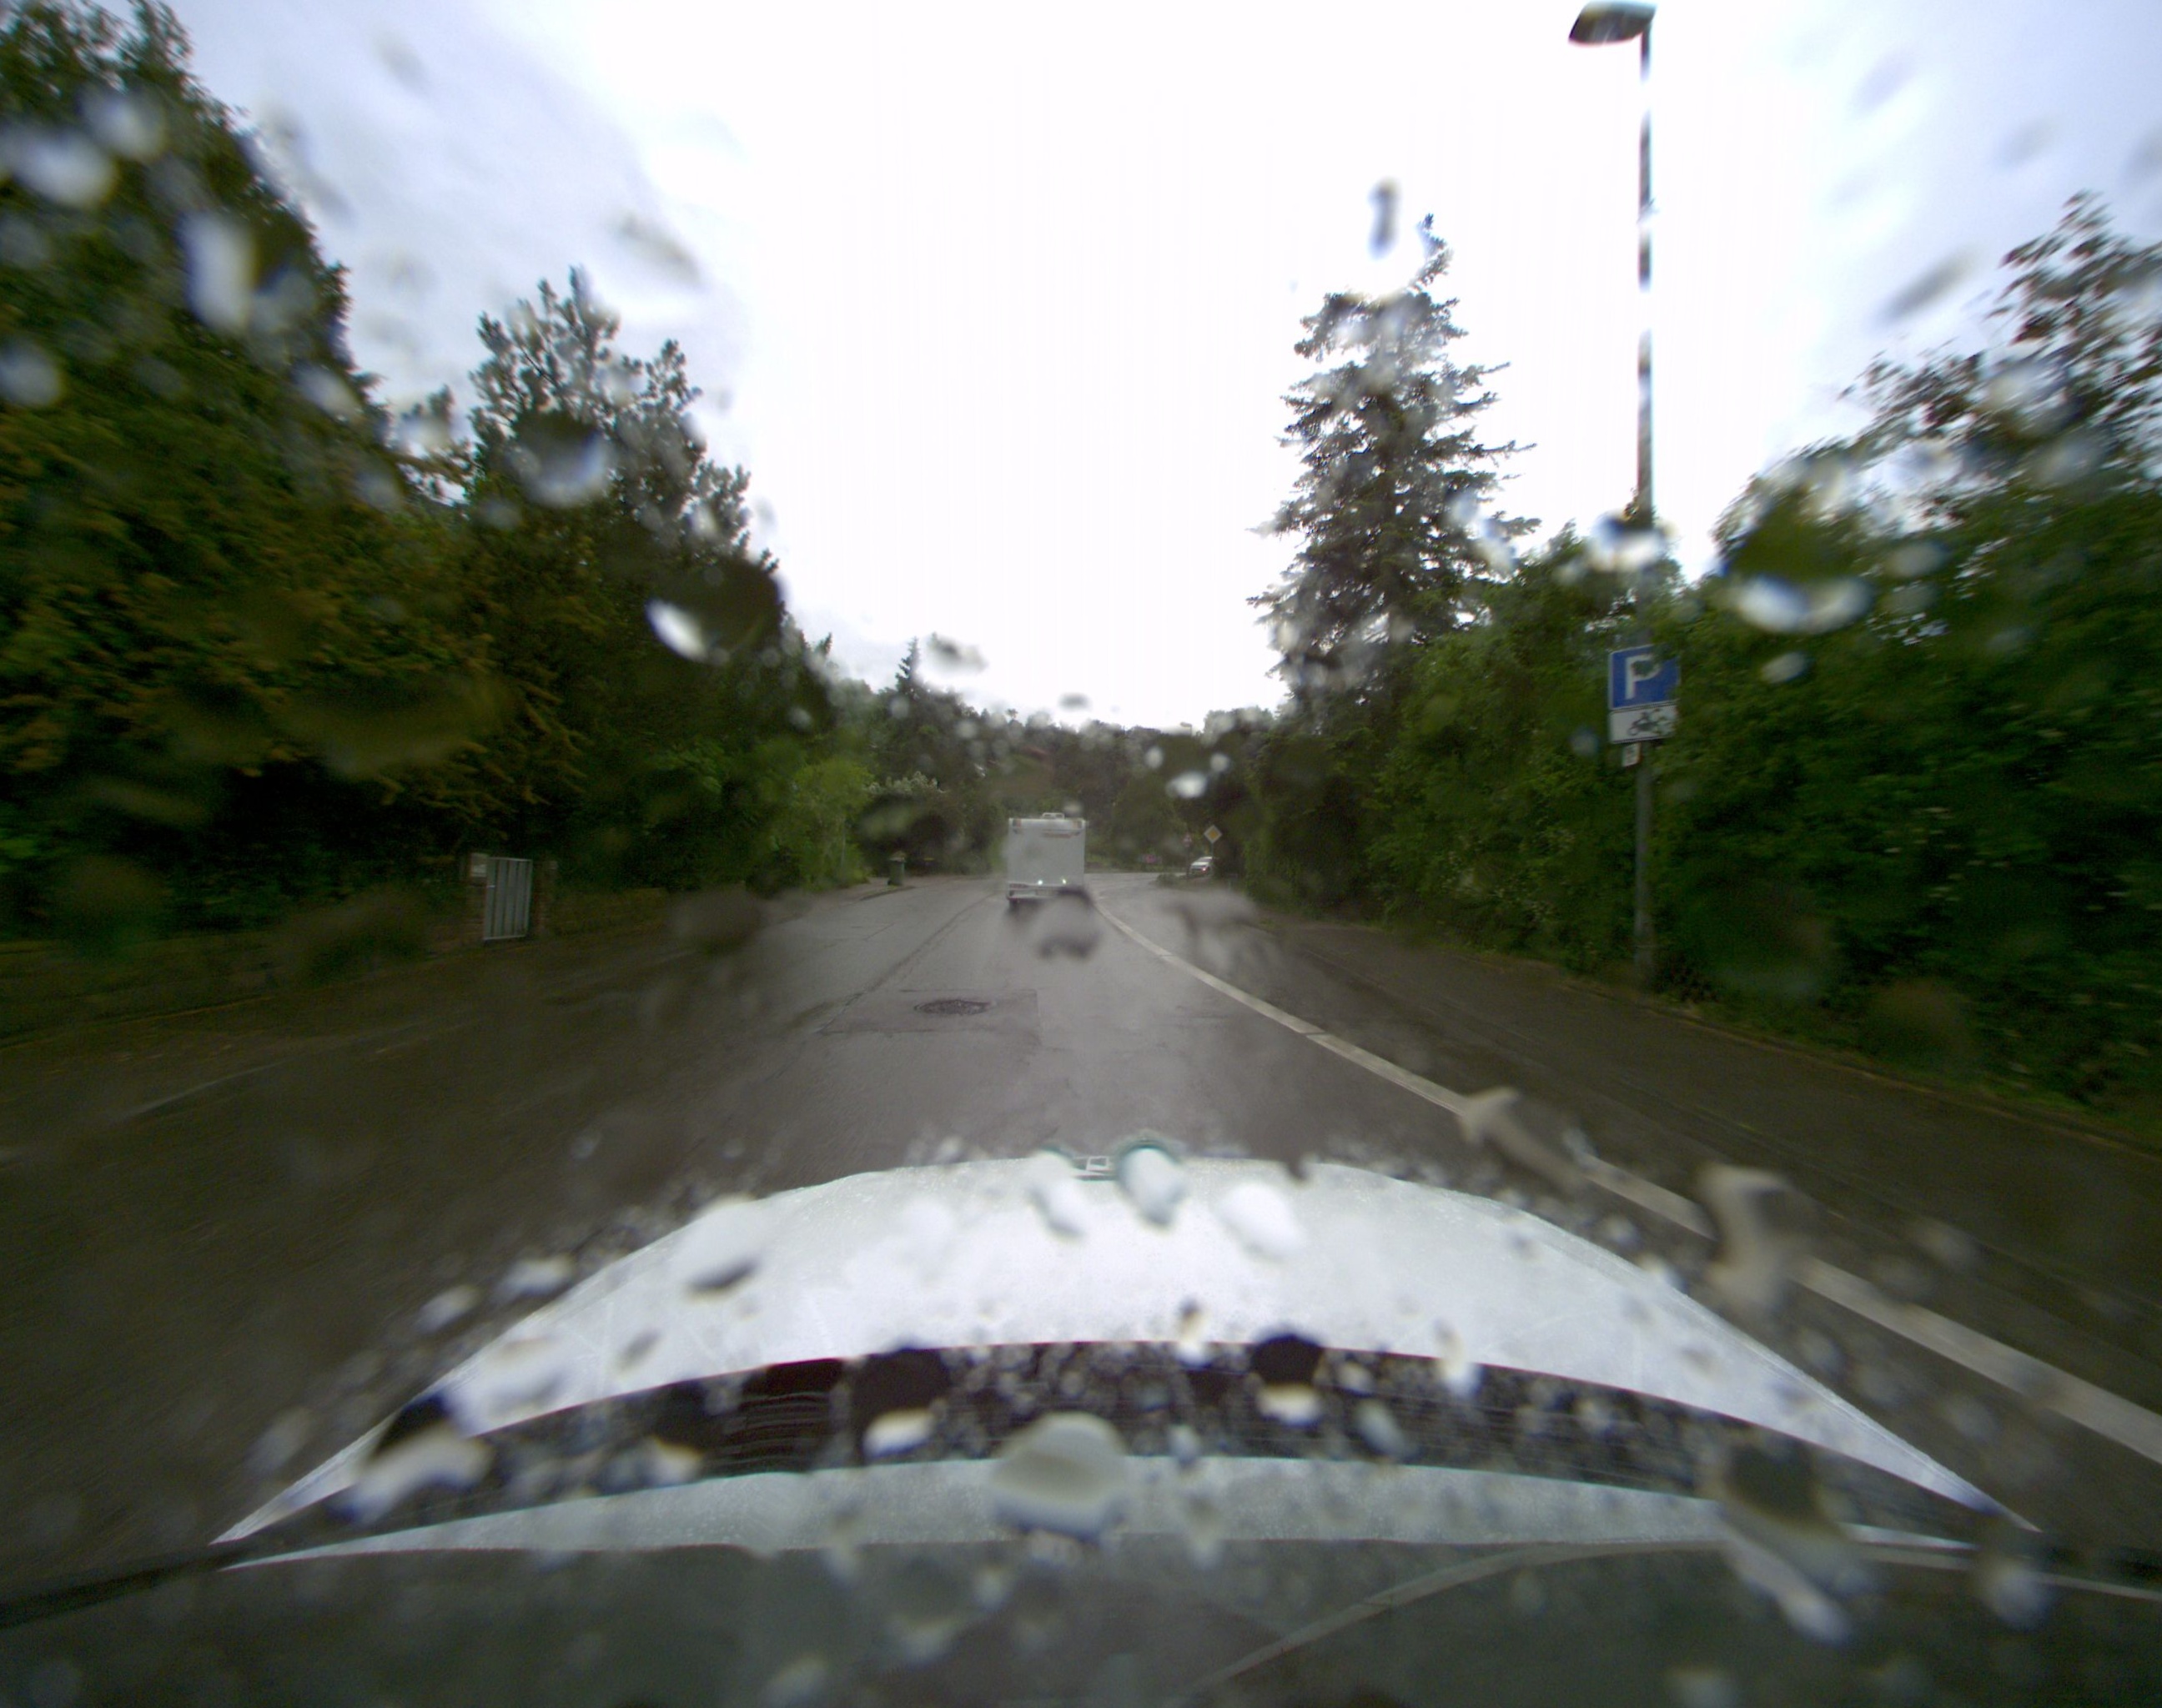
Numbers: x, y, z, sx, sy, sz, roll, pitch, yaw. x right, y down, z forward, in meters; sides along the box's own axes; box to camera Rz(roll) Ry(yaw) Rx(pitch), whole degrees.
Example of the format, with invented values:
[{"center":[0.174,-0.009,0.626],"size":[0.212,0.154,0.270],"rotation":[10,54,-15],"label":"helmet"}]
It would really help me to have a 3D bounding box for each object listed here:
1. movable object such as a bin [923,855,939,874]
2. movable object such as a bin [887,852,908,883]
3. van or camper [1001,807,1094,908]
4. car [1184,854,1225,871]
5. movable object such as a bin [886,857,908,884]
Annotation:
[{"center":[-8.294,0.594,45.135],"size":[0.753,1.022,0.743],"rotation":[1,0,-4],"label":"movable object such as a bin"},{"center":[-7.562,0.542,33.574],"size":[0.740,1.253,0.756],"rotation":[1,0,-5],"label":"movable object such as a bin"},{"center":[-0.983,0.173,26.263],"size":[2.608,2.853,6.028],"rotation":[1,-2,-1],"label":"van or camper"},{"center":[11.052,0.745,72.674],"size":[1.873,1.387,4.025],"rotation":[-3,-1,37],"label":"car"},{"center":[-7.373,0.654,32.692],"size":[0.740,1.094,0.756],"rotation":[1,0,-5],"label":"movable object such as a bin"}]
